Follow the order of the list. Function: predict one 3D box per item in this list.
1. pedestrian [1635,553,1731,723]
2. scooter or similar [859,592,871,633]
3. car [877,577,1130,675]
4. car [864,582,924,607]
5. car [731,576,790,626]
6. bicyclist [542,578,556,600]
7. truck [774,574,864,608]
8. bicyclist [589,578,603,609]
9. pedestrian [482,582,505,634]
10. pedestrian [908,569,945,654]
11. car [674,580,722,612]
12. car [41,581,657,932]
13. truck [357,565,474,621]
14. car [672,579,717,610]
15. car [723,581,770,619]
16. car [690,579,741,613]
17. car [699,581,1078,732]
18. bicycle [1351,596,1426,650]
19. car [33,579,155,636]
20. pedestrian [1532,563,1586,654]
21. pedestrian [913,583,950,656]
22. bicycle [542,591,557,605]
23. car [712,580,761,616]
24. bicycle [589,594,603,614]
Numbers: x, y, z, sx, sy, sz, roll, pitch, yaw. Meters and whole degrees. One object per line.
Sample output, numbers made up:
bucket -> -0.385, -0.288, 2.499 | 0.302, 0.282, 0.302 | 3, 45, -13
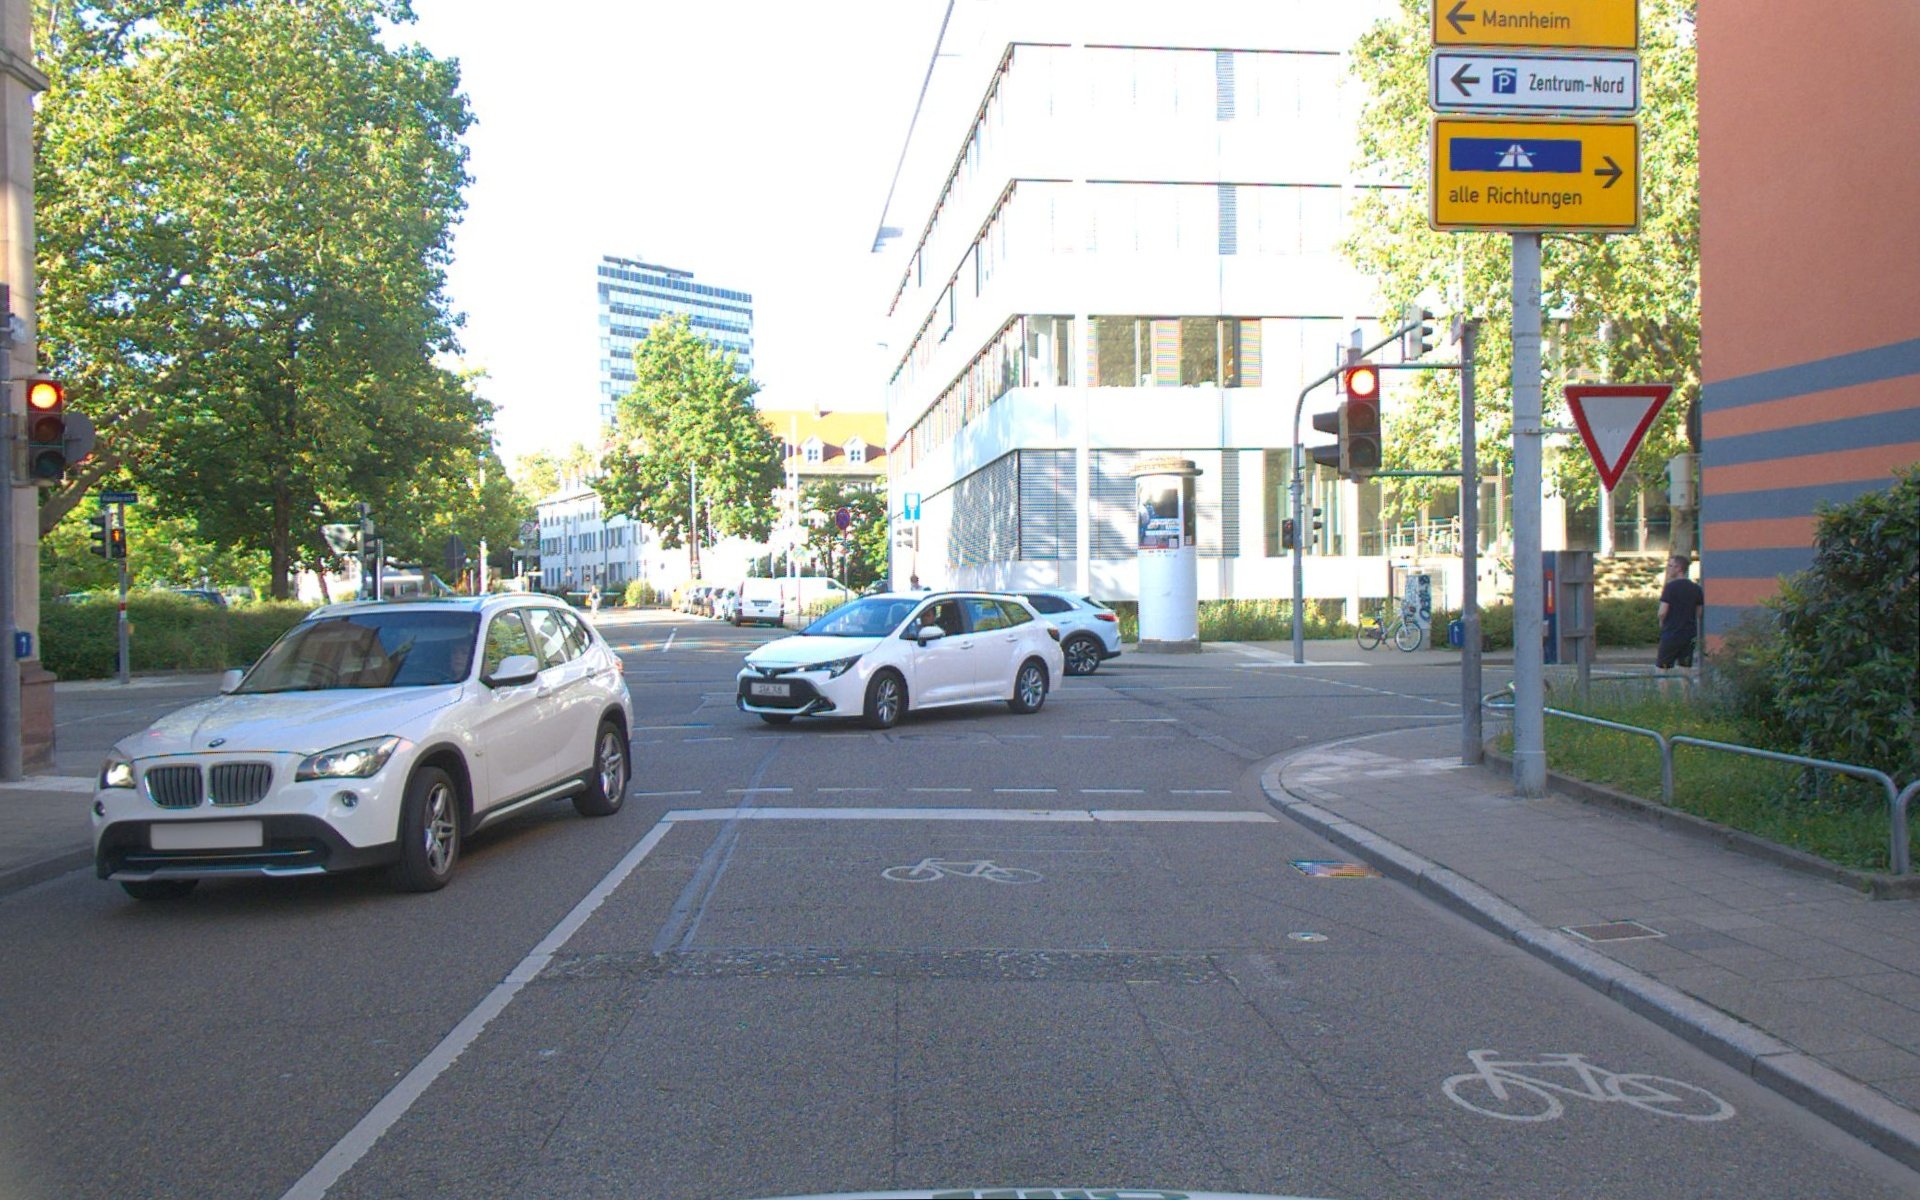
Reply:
pedestrian -> 8.207, 0.417, 18.805 | 0.692, 1.872, 0.837 | 1, 0, -1
scooter or similar -> -3.358, 0.439, 58.490 | 0.324, 1.449, 1.333 | 1, 0, -6
car -> 0.726, 0.431, 29.215 | 4.239, 1.603, 1.821 | -1, 0, -8
car -> -4.154, -0.347, 104.159 | 3.502, 1.573, 1.549 | -1, 0, -20
car -> -7.830, -0.010, 64.532 | 2.047, 1.827, 4.404 | 0, 1, -10
bicyclist -> -30.152, -0.807, 121.351 | 0.850, 1.541, 1.016 | -3, 0, -11
truck -> -8.768, -0.562, 102.904 | 5.258, 2.049, 1.989 | -1, 0, -20
bicyclist -> -18.383, -0.318, 83.514 | 0.604, 1.559, 0.901 | -1, 0, -9
pedestrian -> -15.844, 0.268, 56.153 | 0.692, 1.753, 0.950 | -2, 0, -18
pedestrian -> -0.756, 0.265, 37.769 | 0.547, 1.882, 0.678 | -3, 1, 15
car -> -14.344, -0.238, 90.415 | 1.860, 1.684, 4.391 | 0, 1, -19
car -> -3.353, 0.742, 10.098 | 1.649, 1.610, 4.278 | -3, 1, 7
truck -> -24.557, -0.326, 74.738 | 4.741, 2.441, 2.082 | 0, 1, -11
car -> -15.338, -0.336, 95.245 | 1.860, 1.684, 4.391 | 0, 1, -19
car -> -9.434, -0.026, 72.778 | 1.854, 1.582, 4.404 | 0, 1, -10
car -> -12.665, -0.224, 85.349 | 1.860, 1.684, 4.391 | 0, 1, -19
car -> -0.686, 0.557, 19.059 | 1.857, 1.501, 4.523 | -1, 0, 39
bicycle -> 9.353, 0.497, 36.149 | 0.503, 1.067, 1.667 | -3, 4, -35
car -> -39.968, 0.332, 76.423 | 4.472, 2.433, 2.069 | -2, 0, -10
pedestrian -> 12.455, 0.176, 34.419 | 0.818, 1.872, 0.708 | 1, 0, -4
pedestrian -> -0.641, 0.431, 37.165 | 0.551, 1.567, 0.673 | -4, 1, -19
bicycle -> -30.122, -0.138, 121.338 | 0.850, 1.027, 2.407 | -3, 0, -11
car -> -10.601, -0.101, 78.131 | 1.856, 1.582, 4.400 | 0, 1, -14
bicycle -> -18.374, 0.181, 83.503 | 0.604, 0.986, 1.837 | -1, 1, -9
